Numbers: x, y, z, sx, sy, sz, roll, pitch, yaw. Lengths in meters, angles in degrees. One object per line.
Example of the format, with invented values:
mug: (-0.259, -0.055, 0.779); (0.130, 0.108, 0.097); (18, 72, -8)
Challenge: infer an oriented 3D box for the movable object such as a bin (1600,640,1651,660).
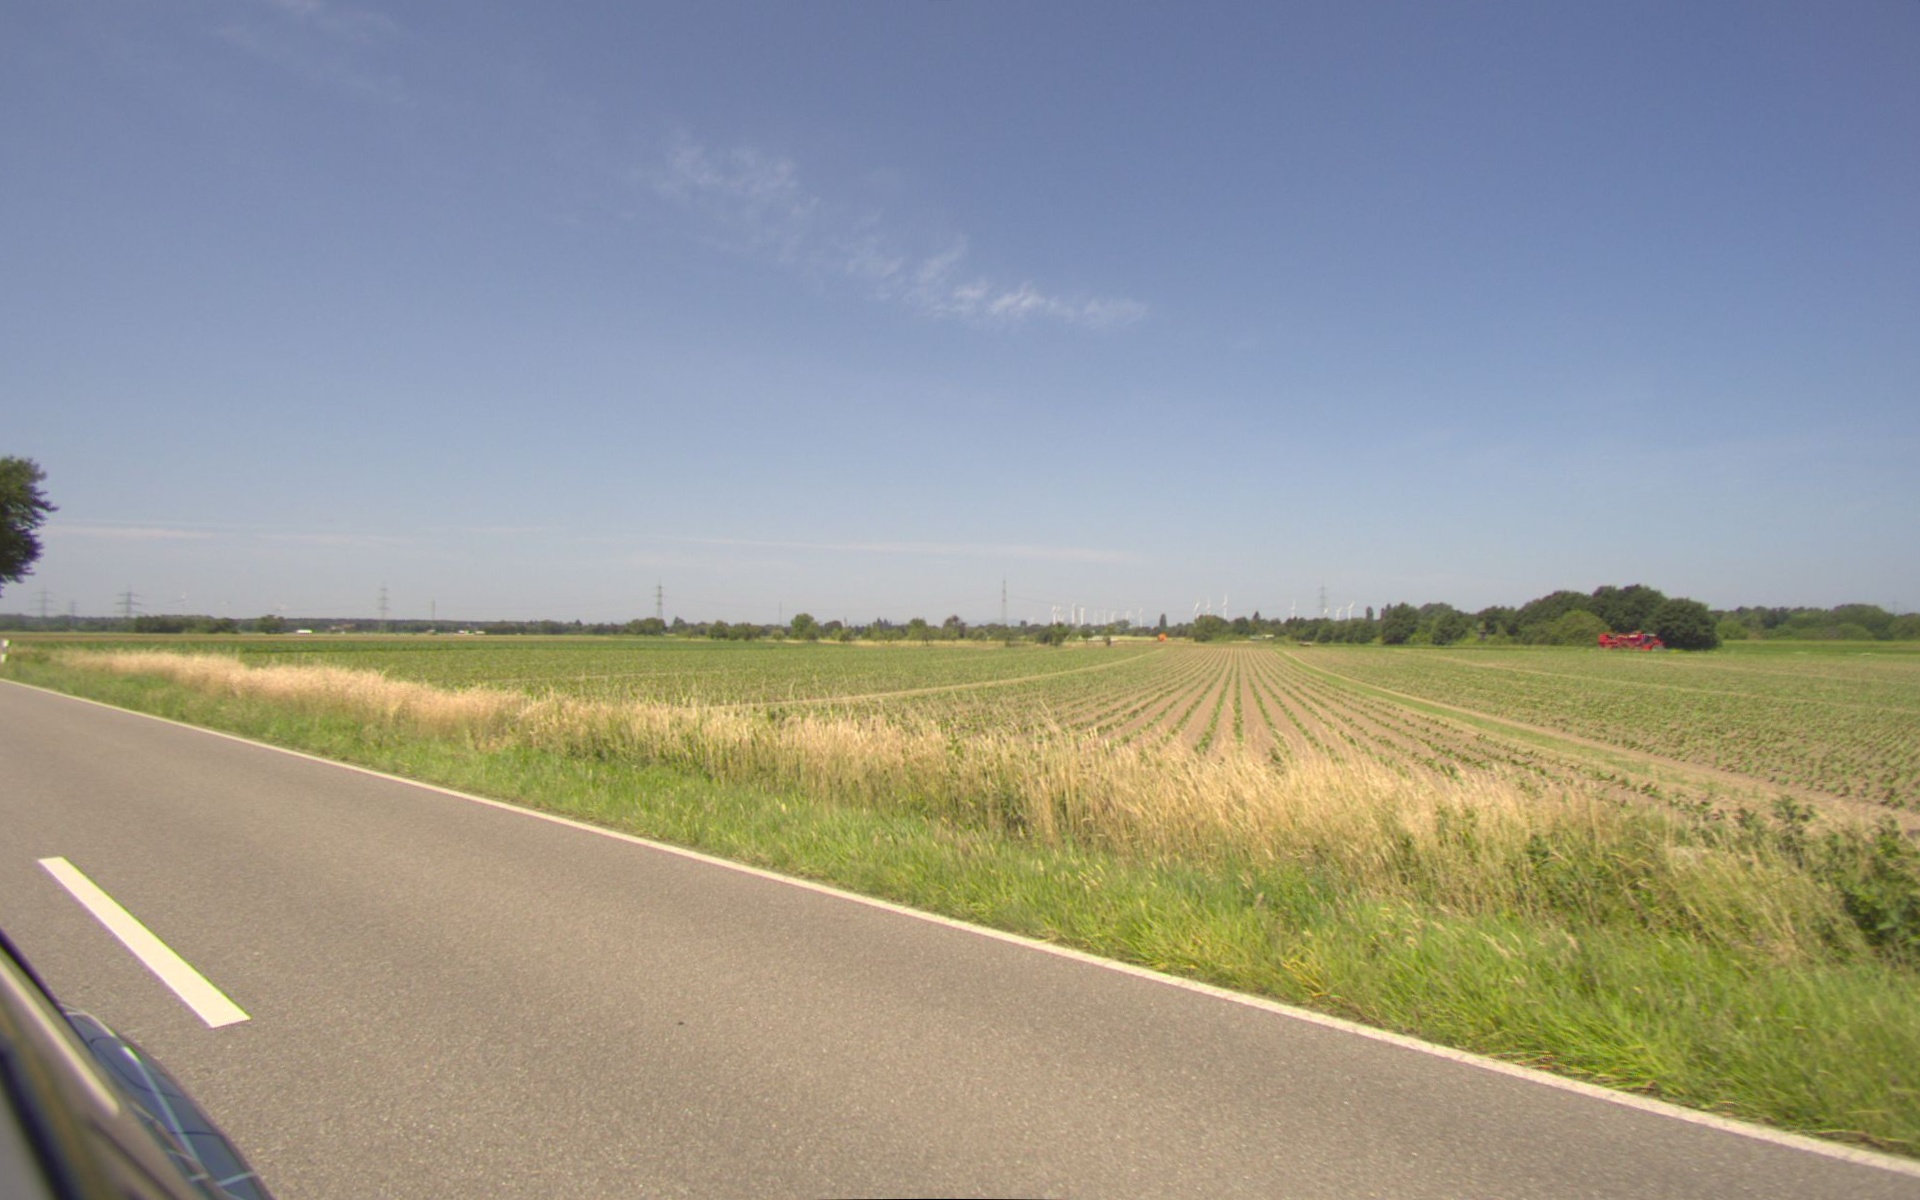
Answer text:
movable object such as a bin: (136.446, 10.201, 207.769); (2.506, 3.878, 9.999); (1, -3, -10)
